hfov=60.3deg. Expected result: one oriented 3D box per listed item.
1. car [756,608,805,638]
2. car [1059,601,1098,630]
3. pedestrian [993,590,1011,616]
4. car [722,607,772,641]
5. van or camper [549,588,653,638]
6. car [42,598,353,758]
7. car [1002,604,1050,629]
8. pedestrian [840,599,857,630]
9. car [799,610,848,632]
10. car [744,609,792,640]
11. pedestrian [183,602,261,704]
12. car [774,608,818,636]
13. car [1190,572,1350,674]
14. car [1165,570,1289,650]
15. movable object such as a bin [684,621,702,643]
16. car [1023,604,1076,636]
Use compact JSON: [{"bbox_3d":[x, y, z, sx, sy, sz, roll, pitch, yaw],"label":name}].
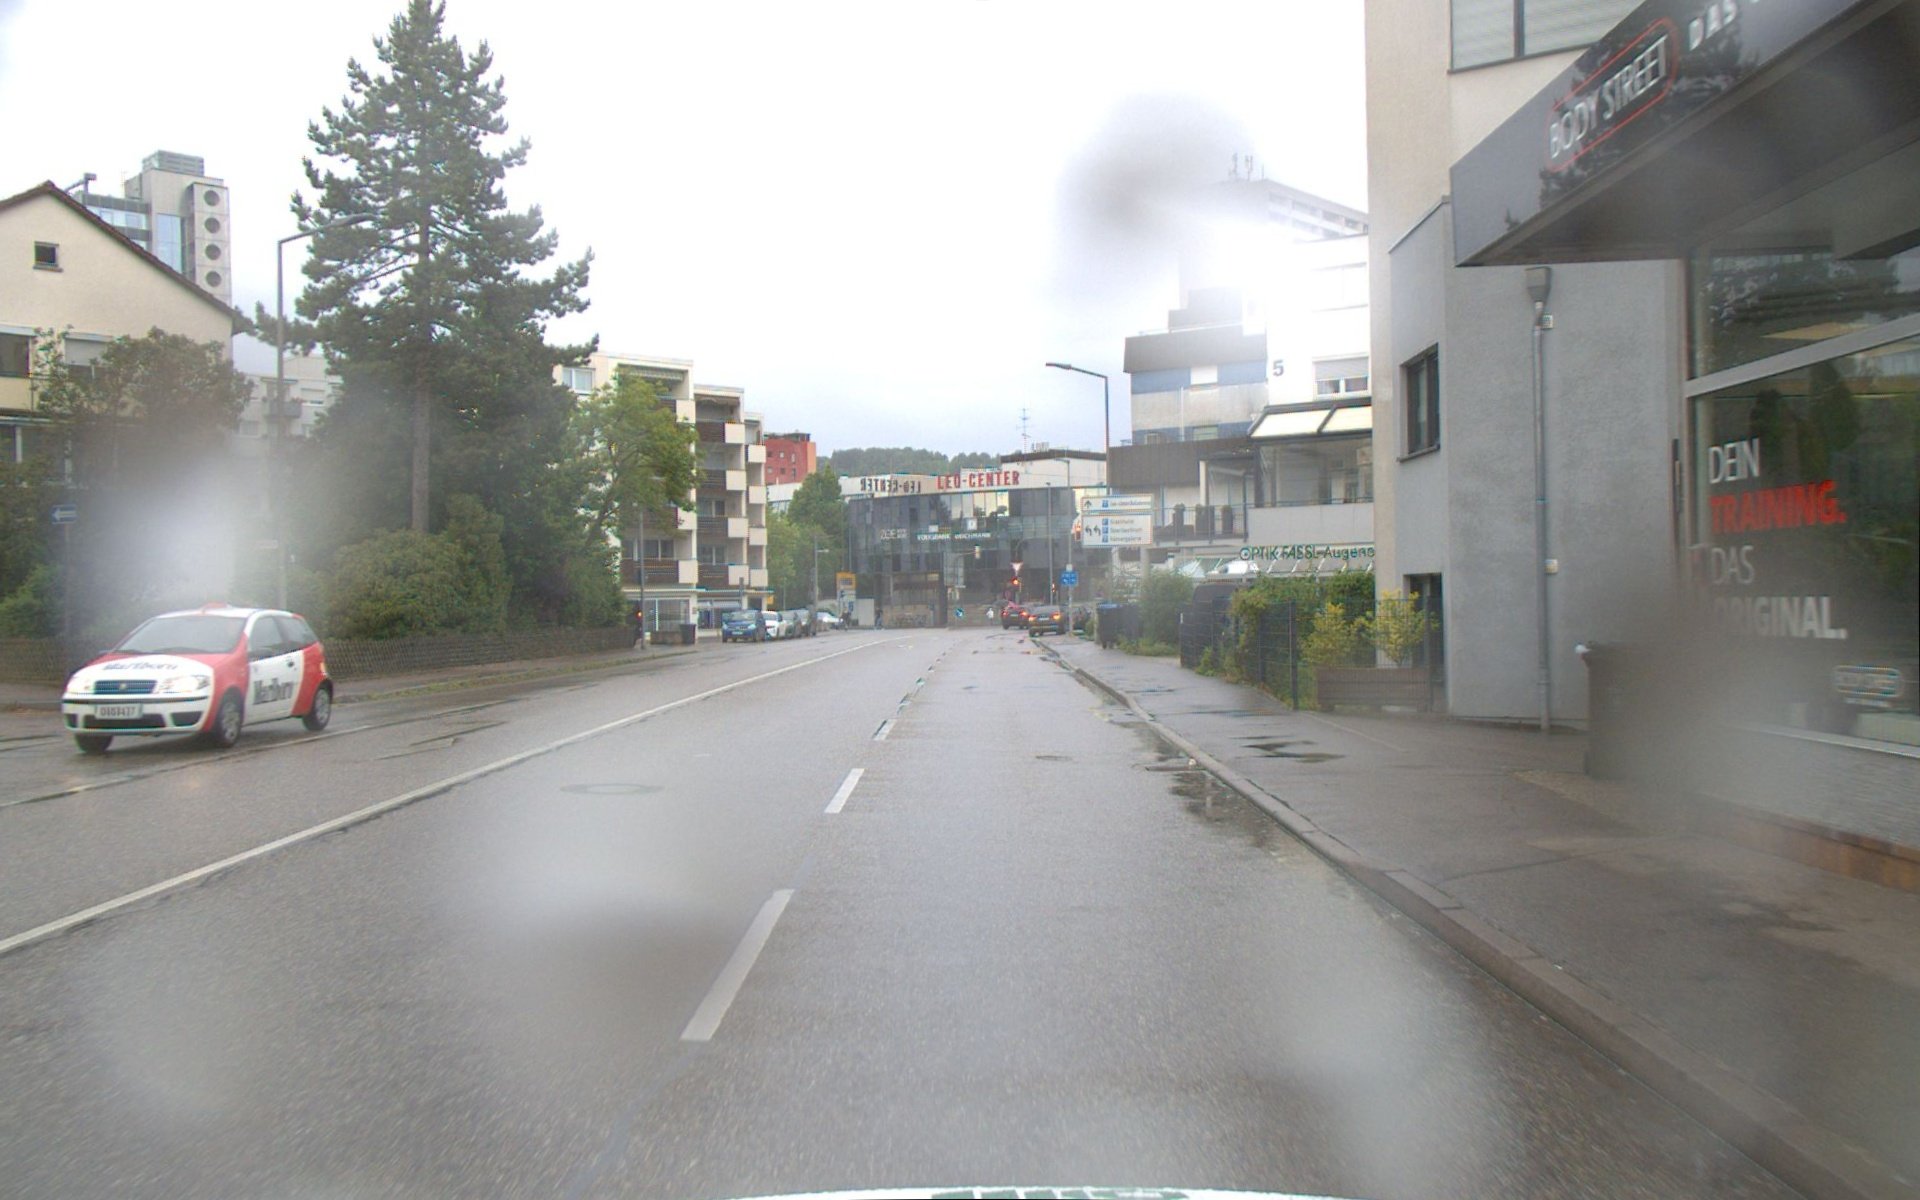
[{"bbox_3d":[-9.772,1.232,90.277,1.894,1.569,4.522,-1,0,3],"label":"car"},{"bbox_3d":[6.769,0.857,94.276,1.662,1.512,4.003,-4,-1,11],"label":"car"},{"bbox_3d":[2.775,0.202,109.506,0.897,1.688,0.749,2,1,-25],"label":"pedestrian"},{"bbox_3d":[-10.143,1.119,79.151,1.617,1.547,4.326,-1,0,3],"label":"car"},{"bbox_3d":[-15.088,0.528,69.243,1.983,1.958,5.138,-2,2,-41],"label":"van or camper"},{"bbox_3d":[-8.430,0.784,18.698,1.664,1.433,3.999,-4,1,-2],"label":"car"},{"bbox_3d":[4.107,1.009,102.776,1.767,1.444,4.001,-2,0,21],"label":"car"},{"bbox_3d":[-7.575,1.012,112.426,0.733,2.049,0.921,2,0,23],"label":"pedestrian"},{"bbox_3d":[-10.903,1.658,131.489,1.976,1.538,4.381,2,1,-34],"label":"car"},{"bbox_3d":[-9.820,1.235,84.982,1.658,1.490,4.686,-1,0,3],"label":"car"},{"bbox_3d":[-12.199,0.862,27.366,0.852,1.635,1.102,-1,-1,-7],"label":"pedestrian"},{"bbox_3d":[-9.508,1.244,96.087,1.894,1.569,4.274,-1,0,3],"label":"car"},{"bbox_3d":[6.009,0.423,32.624,1.954,1.816,4.687,-1,0,-4],"label":"car"},{"bbox_3d":[7.328,0.236,45.040,1.955,2.049,4.774,-1,0,27],"label":"car"},{"bbox_3d":[-12.127,1.447,75.197,0.634,0.983,0.683,-2,0,2],"label":"movable object such as a bin"},{"bbox_3d":[4.519,1.012,83.197,1.951,1.560,4.650,0,-1,12],"label":"car"}]
